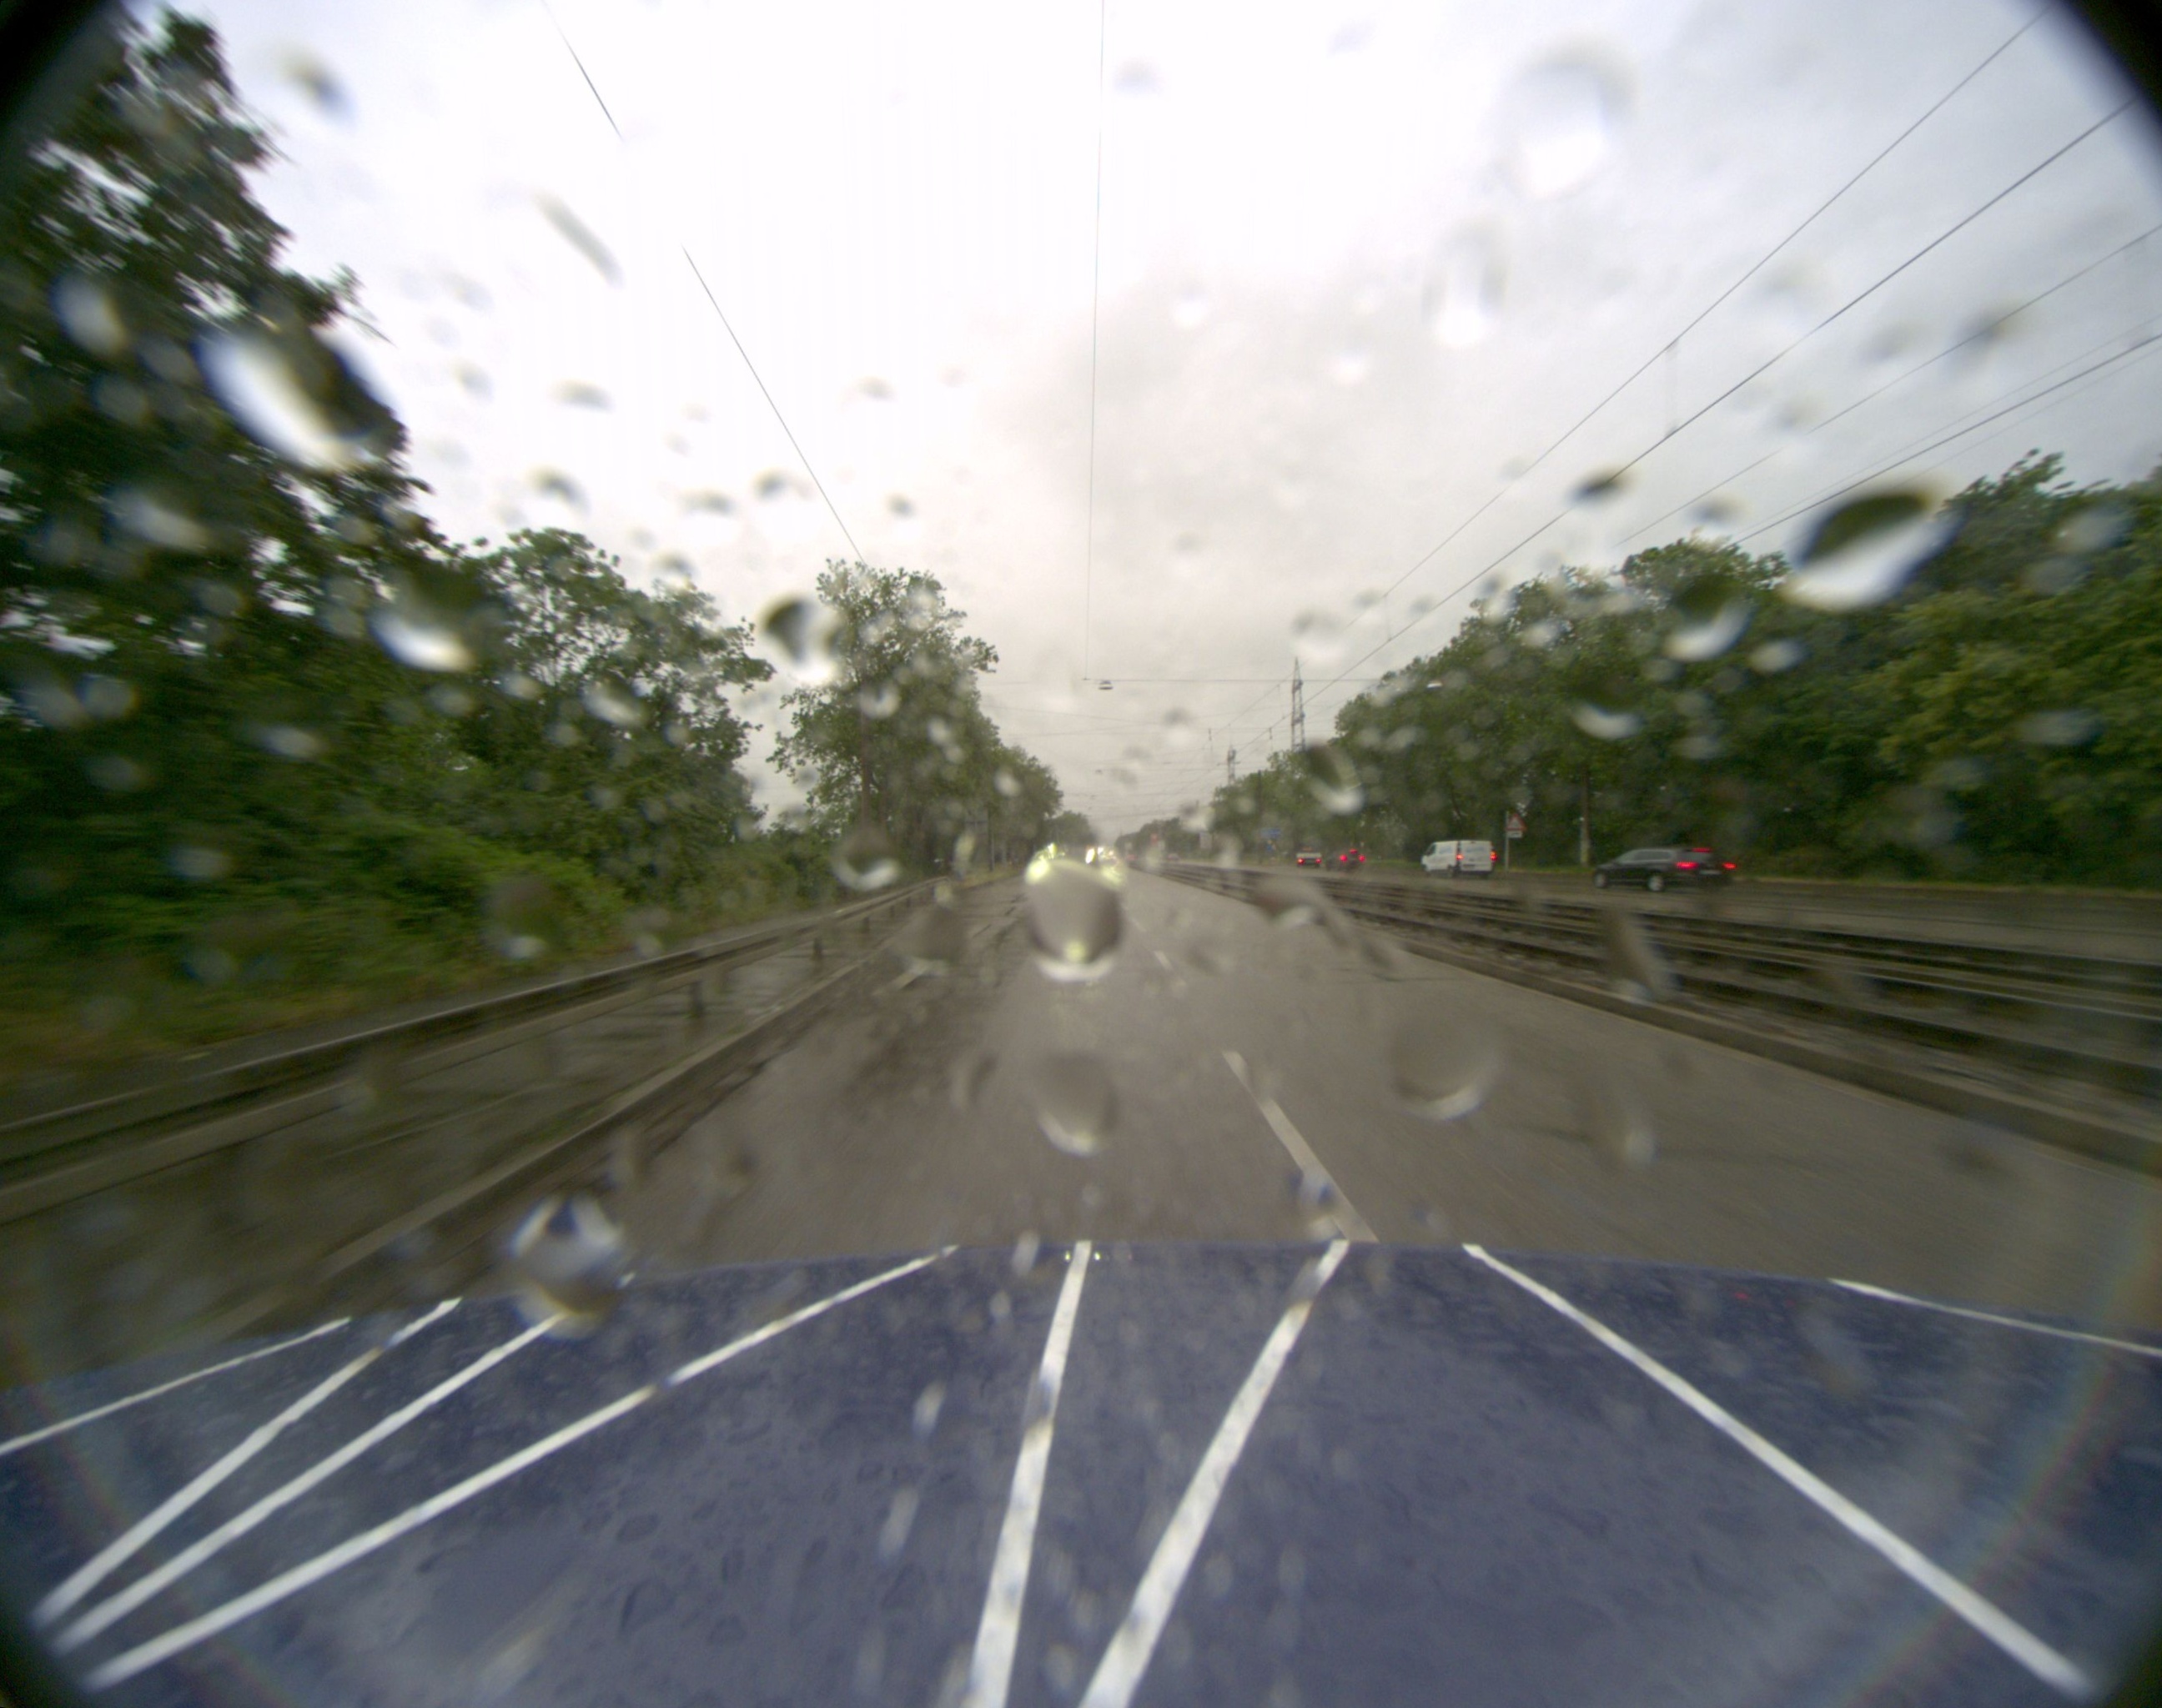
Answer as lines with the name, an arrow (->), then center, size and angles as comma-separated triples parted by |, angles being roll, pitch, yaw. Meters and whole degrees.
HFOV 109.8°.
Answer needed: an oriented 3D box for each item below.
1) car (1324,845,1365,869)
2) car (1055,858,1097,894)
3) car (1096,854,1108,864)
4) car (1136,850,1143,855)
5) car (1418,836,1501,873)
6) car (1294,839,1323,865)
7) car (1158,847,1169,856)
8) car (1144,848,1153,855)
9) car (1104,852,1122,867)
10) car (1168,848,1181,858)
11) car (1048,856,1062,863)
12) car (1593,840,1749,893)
car -> 19.908, 0.223, 57.544 | 1.845, 1.706, 4.164 | -2, -1, 3
car -> -0.229, 0.998, 35.692 | 1.807, 1.521, 3.645 | -2, -1, 0
car -> 3.430, 0.758, 123.210 | 1.807, 1.521, 3.645 | -2, -1, 0
car -> 19.008, -0.621, 247.430 | 1.693, 1.542, 4.000 | -2, -1, 0
car -> 19.897, 0.038, 40.211 | 2.044, 1.765, 4.987 | -2, -1, 2
car -> 21.685, -0.177, 72.580 | 2.102, 2.329, 6.997 | -2, -1, 13
car -> 17.518, -0.519, 161.353 | 1.824, 1.695, 6.105 | -2, -1, 0
car -> 17.051, -0.653, 192.724 | 1.795, 1.540, 5.314 | -2, -1, 0
car -> 3.479, 0.588, 83.897 | 1.807, 1.521, 3.645 | -2, -1, 0
car -> 17.118, -0.167, 139.558 | 1.780, 1.575, 5.682 | -2, -1, 0
car -> -5.019, 1.100, 147.167 | 1.782, 1.419, 4.005 | -1, -1, 14
car -> 19.014, 0.391, 24.803 | 1.692, 1.510, 4.613 | -2, -1, 4
